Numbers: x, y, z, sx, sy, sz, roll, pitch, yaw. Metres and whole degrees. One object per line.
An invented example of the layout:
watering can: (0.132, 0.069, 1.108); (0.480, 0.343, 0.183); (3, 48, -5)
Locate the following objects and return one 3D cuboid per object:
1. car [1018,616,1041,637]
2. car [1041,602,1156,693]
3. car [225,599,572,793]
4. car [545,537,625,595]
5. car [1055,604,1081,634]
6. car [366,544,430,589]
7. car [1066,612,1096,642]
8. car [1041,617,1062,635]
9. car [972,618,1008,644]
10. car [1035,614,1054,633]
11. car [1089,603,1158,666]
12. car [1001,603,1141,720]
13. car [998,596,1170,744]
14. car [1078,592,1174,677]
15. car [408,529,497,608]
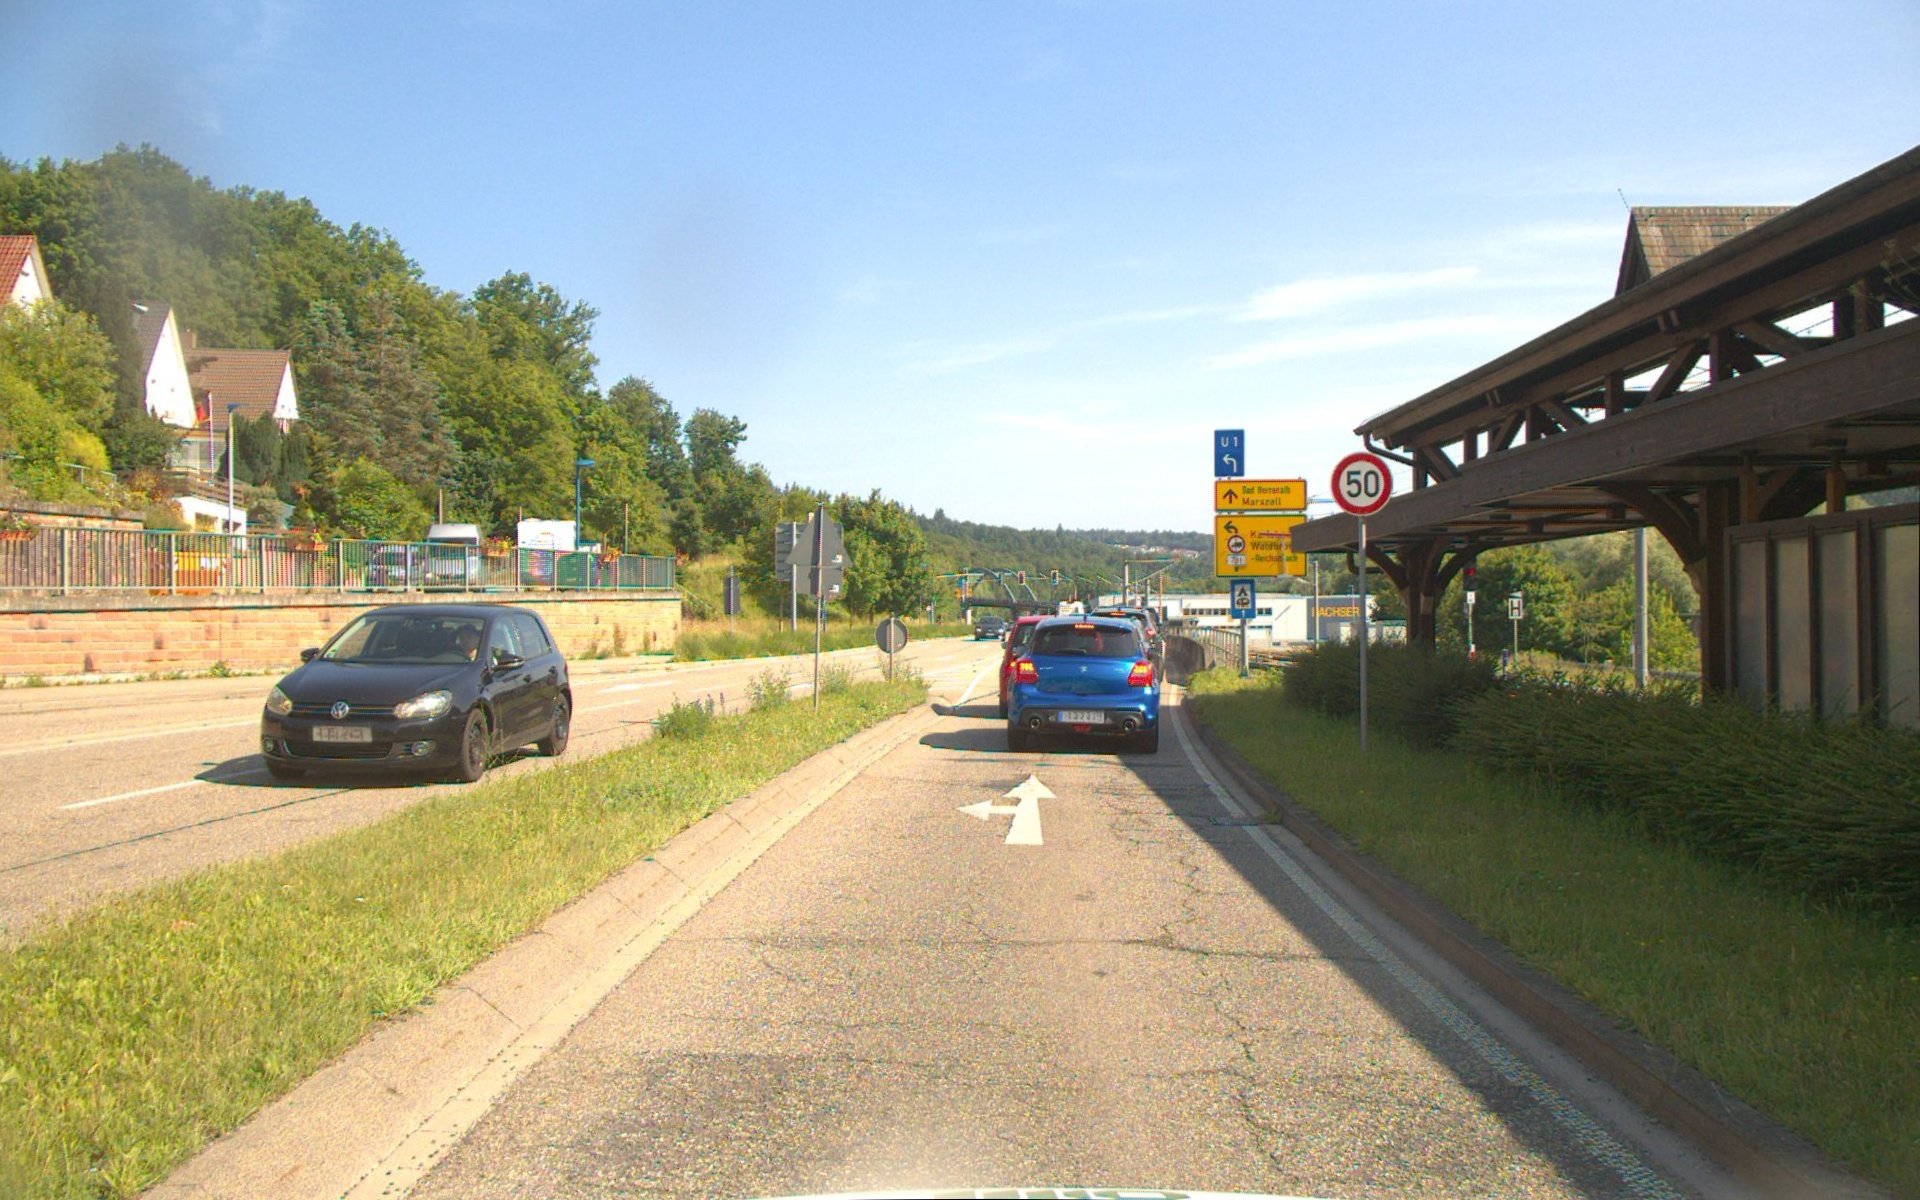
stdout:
car: (6.448, 2.434, 153.086); (1.952, 1.814, 4.002); (1, 0, 4)
car: (2.595, 0.818, 30.716); (1.951, 1.558, 4.604); (0, 0, 5)
car: (-4.822, 0.751, 14.829); (1.709, 1.488, 4.043); (0, 0, 0)
car: (-13.468, -1.227, 59.645); (1.980, 1.953, 4.729); (2, 1, -3)
car: (8.249, 1.467, 126.387); (1.952, 2.182, 4.722); (1, 0, 4)
car: (-21.734, -1.269, 64.098); (1.861, 1.658, 3.988); (0, 0, -12)
car: (8.281, 1.828, 113.519); (1.952, 1.848, 4.002); (2, 1, 4)
car: (8.885, 2.538, 160.687); (1.952, 1.619, 4.002); (1, 0, 3)
car: (1.867, 1.906, 101.261); (1.753, 1.496, 4.719); (0, 0, 7)
car: (9.460, 2.584, 184.698); (1.952, 2.049, 4.000); (1, 0, 1)
car: (4.984, 1.023, 50.584); (1.951, 1.766, 4.002); (2, 0, 5)
car: (1.758, 0.890, 25.489); (1.951, 1.599, 4.002); (1, 0, 5)
car: (1.444, 0.756, 19.826); (1.829, 1.575, 4.001); (1, 0, 3)
car: (3.667, 0.722, 36.745); (1.951, 1.716, 4.500); (2, 0, 5)
car: (-17.382, -1.090, 56.942); (2.054, 2.486, 5.773); (2, 1, -9)
